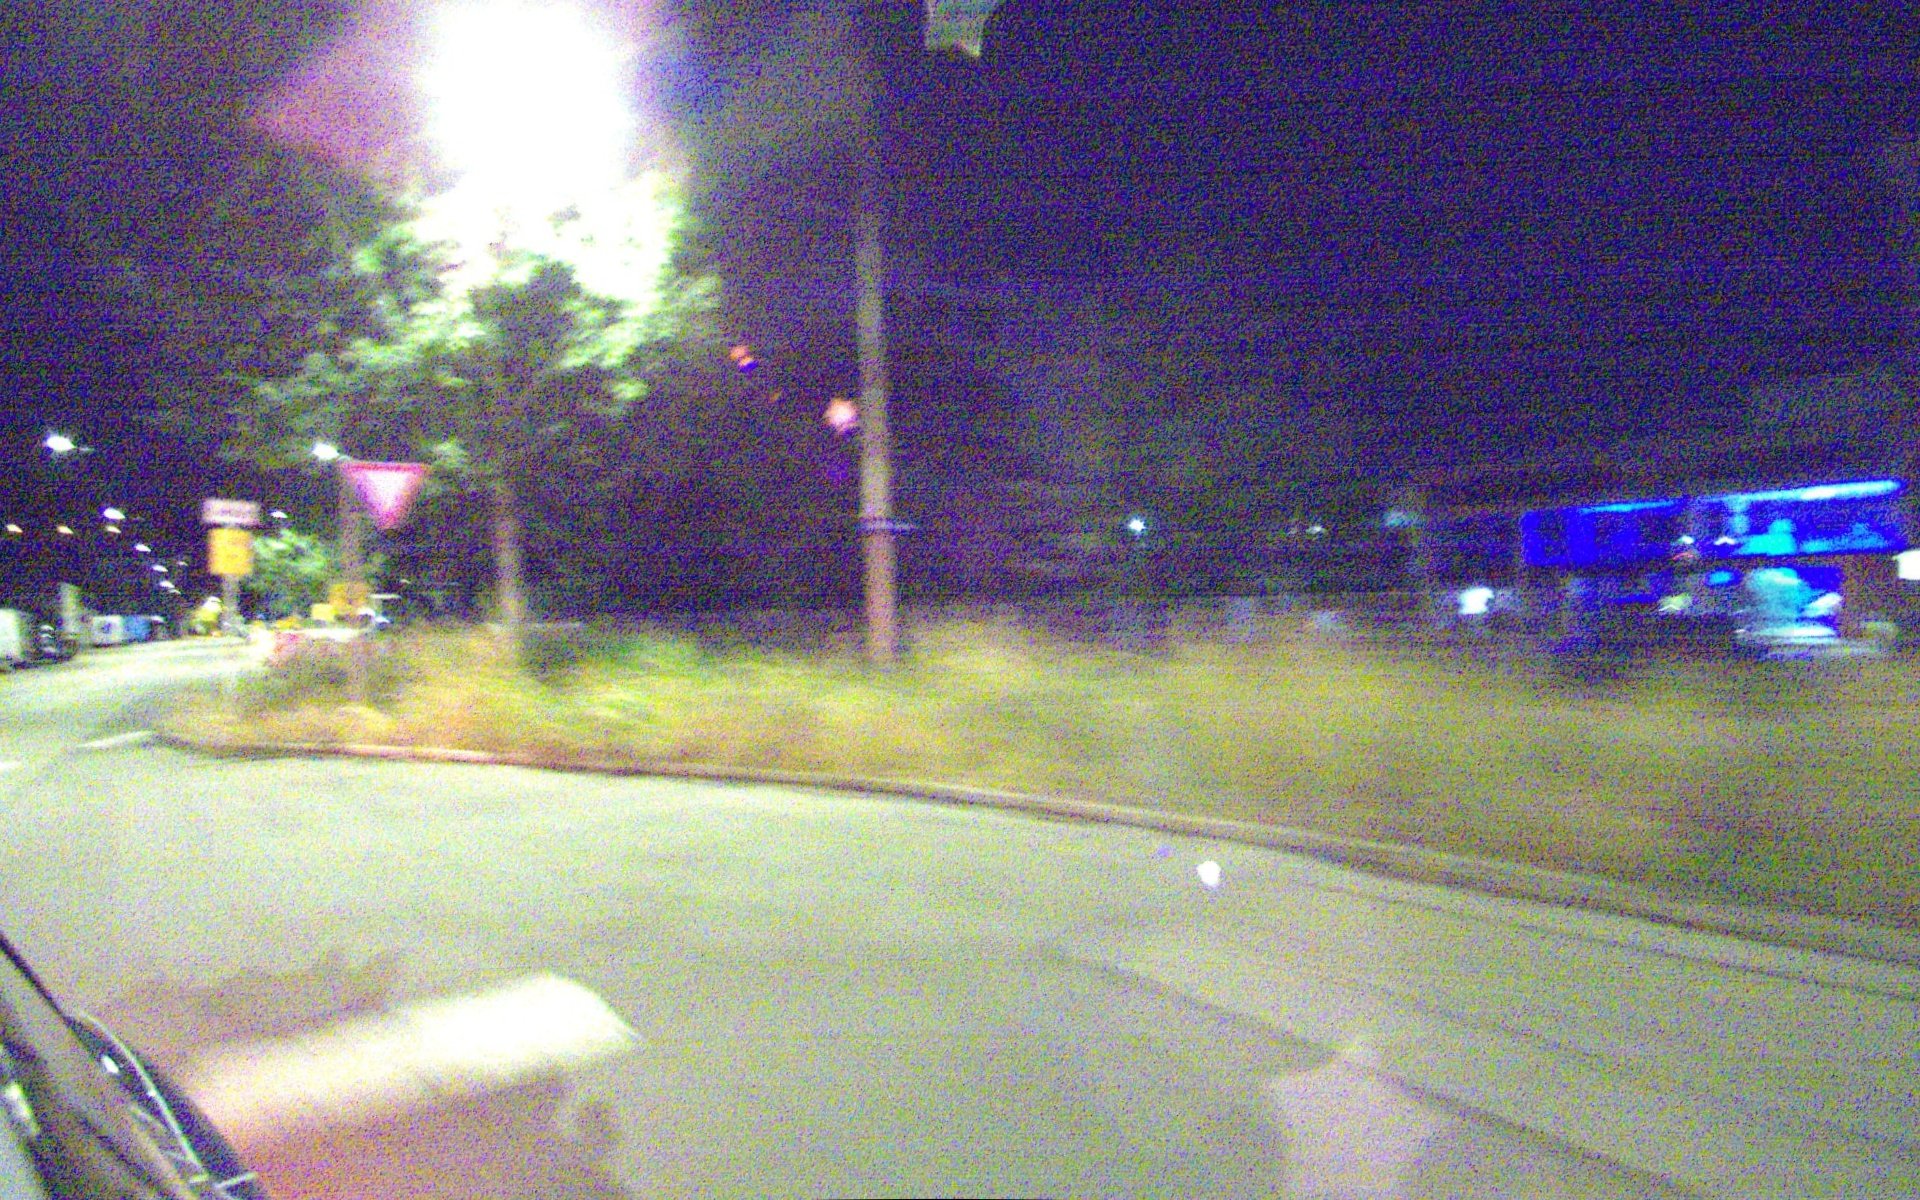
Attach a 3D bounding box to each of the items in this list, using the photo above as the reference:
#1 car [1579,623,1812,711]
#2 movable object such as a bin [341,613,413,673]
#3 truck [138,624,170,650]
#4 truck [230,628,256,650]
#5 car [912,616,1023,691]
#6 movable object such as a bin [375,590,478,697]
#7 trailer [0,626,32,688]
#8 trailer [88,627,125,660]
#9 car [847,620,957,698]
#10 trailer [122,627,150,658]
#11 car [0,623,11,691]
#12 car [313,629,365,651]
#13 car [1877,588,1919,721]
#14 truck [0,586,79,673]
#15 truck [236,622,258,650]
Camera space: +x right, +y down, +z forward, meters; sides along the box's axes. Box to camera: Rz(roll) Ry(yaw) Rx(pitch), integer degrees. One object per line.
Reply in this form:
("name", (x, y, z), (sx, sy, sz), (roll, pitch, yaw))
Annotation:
("car", (18.428, 1.594, 25.669), (1.967, 1.898, 4.494), (-3, 0, -12))
("movable object such as a bin", (-24.876, 1.827, 43.175), (2.831, 2.486, 1.536), (-2, -1, 33))
("truck", (-126.727, 5.824, 159.219), (2.475, 3.866, 12.693), (-3, -1, -32))
("truck", (-129.568, 7.148, 182.730), (2.787, 3.659, 10.417), (-3, -1, -40))
("car", (0.206, 2.012, 38.655), (1.966, 2.573, 4.495), (-3, -1, -33))
("movable object such as a bin", (-14.767, 1.221, 27.934), (1.552, 2.755, 3.704), (2, -4, -43))
("trailer", (-41.126, 2.464, 43.230), (1.611, 2.492, 5.038), (-3, -1, -37))
("trailer", (-75.037, 3.823, 89.040), (1.967, 2.671, 4.010), (-3, -1, -34))
("car", (-2.203, 2.120, 37.356), (1.966, 2.573, 4.495), (-3, -1, -33))
("trailer", (-95.805, 4.967, 117.628), (2.368, 3.350, 4.369), (-3, -1, -40))
("car", (-35.584, 2.094, 35.659), (2.080, 2.535, 6.387), (-3, -1, -34))
("car", (-64.153, 4.101, 104.551), (4.375, 1.987, 2.004), (-3, 0, -37))
("car", (20.348, 1.000, 17.925), (1.967, 2.573, 5.892), (-3, 0, -13))
("truck", (-46.098, 1.481, 49.851), (3.281, 3.897, 9.348), (-3, 0, -37))
("truck", (-112.705, 5.661, 160.082), (2.602, 4.347, 12.856), (0, -2, -34))
